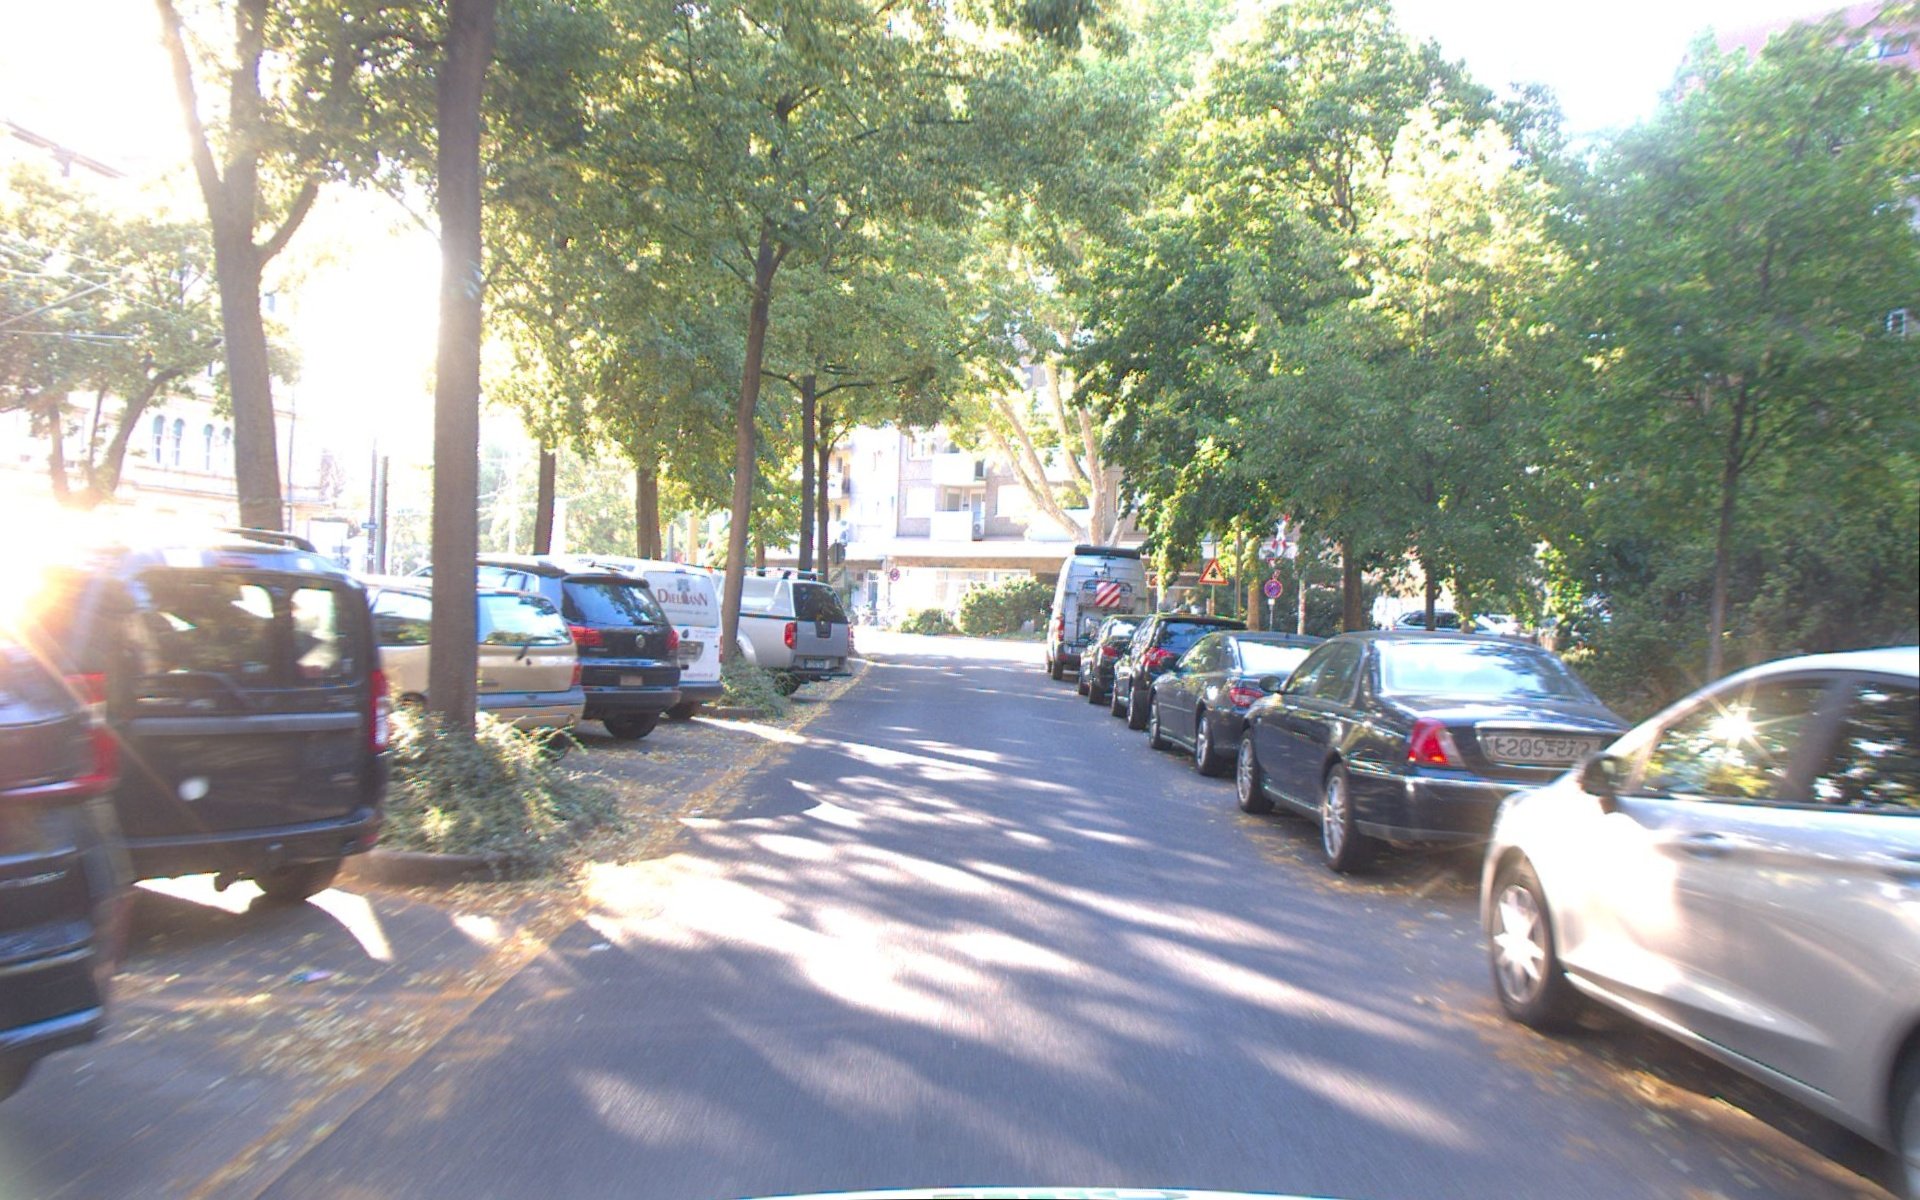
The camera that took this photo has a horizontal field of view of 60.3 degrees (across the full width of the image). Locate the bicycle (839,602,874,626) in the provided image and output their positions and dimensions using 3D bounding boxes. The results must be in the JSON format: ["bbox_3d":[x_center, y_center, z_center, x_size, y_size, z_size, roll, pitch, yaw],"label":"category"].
[{"bbox_3d":[-4.711,0.646,75.269,0.633,1.040,2.063,2,0,-34],"label":"bicycle"}]

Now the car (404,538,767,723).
[{"bbox_3d":[-4.510,0.327,19.728,4.077,1.812,1.877,5,0,35],"label":"car"}]

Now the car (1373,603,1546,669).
[{"bbox_3d":[13.720,0.974,45.564,4.205,1.579,1.730,1,-4,45],"label":"car"}]

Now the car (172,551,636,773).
[{"bbox_3d":[-4.649,0.470,13.805,3.354,1.450,1.830,5,0,30],"label":"car"}]

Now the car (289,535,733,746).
[{"bbox_3d":[-4.521,0.360,16.545,4.072,1.672,1.911,5,0,31],"label":"car"}]

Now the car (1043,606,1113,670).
[{"bbox_3d":[3.066,0.968,43.597,1.646,1.471,3.873,4,0,2],"label":"car"}]

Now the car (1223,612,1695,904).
[{"bbox_3d":[3.003,0.849,11.040,1.646,1.449,4.658,2,0,-1],"label":"car"}]

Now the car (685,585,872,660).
[{"bbox_3d":[-4.453,0.558,40.528,4.104,1.463,1.831,5,0,24],"label":"car"}]

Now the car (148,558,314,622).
[{"bbox_3d":[-22.219,-0.302,50.394,4.726,1.795,2.083,2,0,26],"label":"car"}]

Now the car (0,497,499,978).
[{"bbox_3d":[-4.492,0.371,7.630,4.420,1.644,1.851,5,0,28],"label":"car"}]

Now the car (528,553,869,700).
[{"bbox_3d":[-4.077,0.385,25.682,4.891,1.812,1.985,5,0,27],"label":"car"}]

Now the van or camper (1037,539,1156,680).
[{"bbox_3d":[2.923,0.196,36.642,2.041,2.810,5.844,2,0,0],"label":"van or camper"}]

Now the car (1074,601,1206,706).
[{"bbox_3d":[2.919,0.816,27.657,1.646,1.552,4.489,2,0,0],"label":"car"}]

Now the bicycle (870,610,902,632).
[{"bbox_3d":[-3.291,0.932,73.514,0.538,0.920,1.714,2,0,-35],"label":"bicycle"}]

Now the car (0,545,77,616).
[{"bbox_3d":[-30.695,-0.661,53.390,1.815,2.099,4.997,4,1,-4],"label":"car"}]

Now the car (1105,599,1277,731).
[{"bbox_3d":[3.007,0.788,22.294,1.646,1.552,4.287,2,0,0],"label":"car"}]

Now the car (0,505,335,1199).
[{"bbox_3d":[-4.091,0.454,4.281,4.415,1.644,1.934,5,0,23],"label":"car"}]

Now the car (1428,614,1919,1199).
[{"bbox_3d":[3.025,0.835,5.077,1.648,1.479,4.071,2,0,-6],"label":"car"}]

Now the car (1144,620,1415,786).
[{"bbox_3d":[2.972,0.906,16.266,1.647,1.305,4.285,2,0,-2],"label":"car"}]
